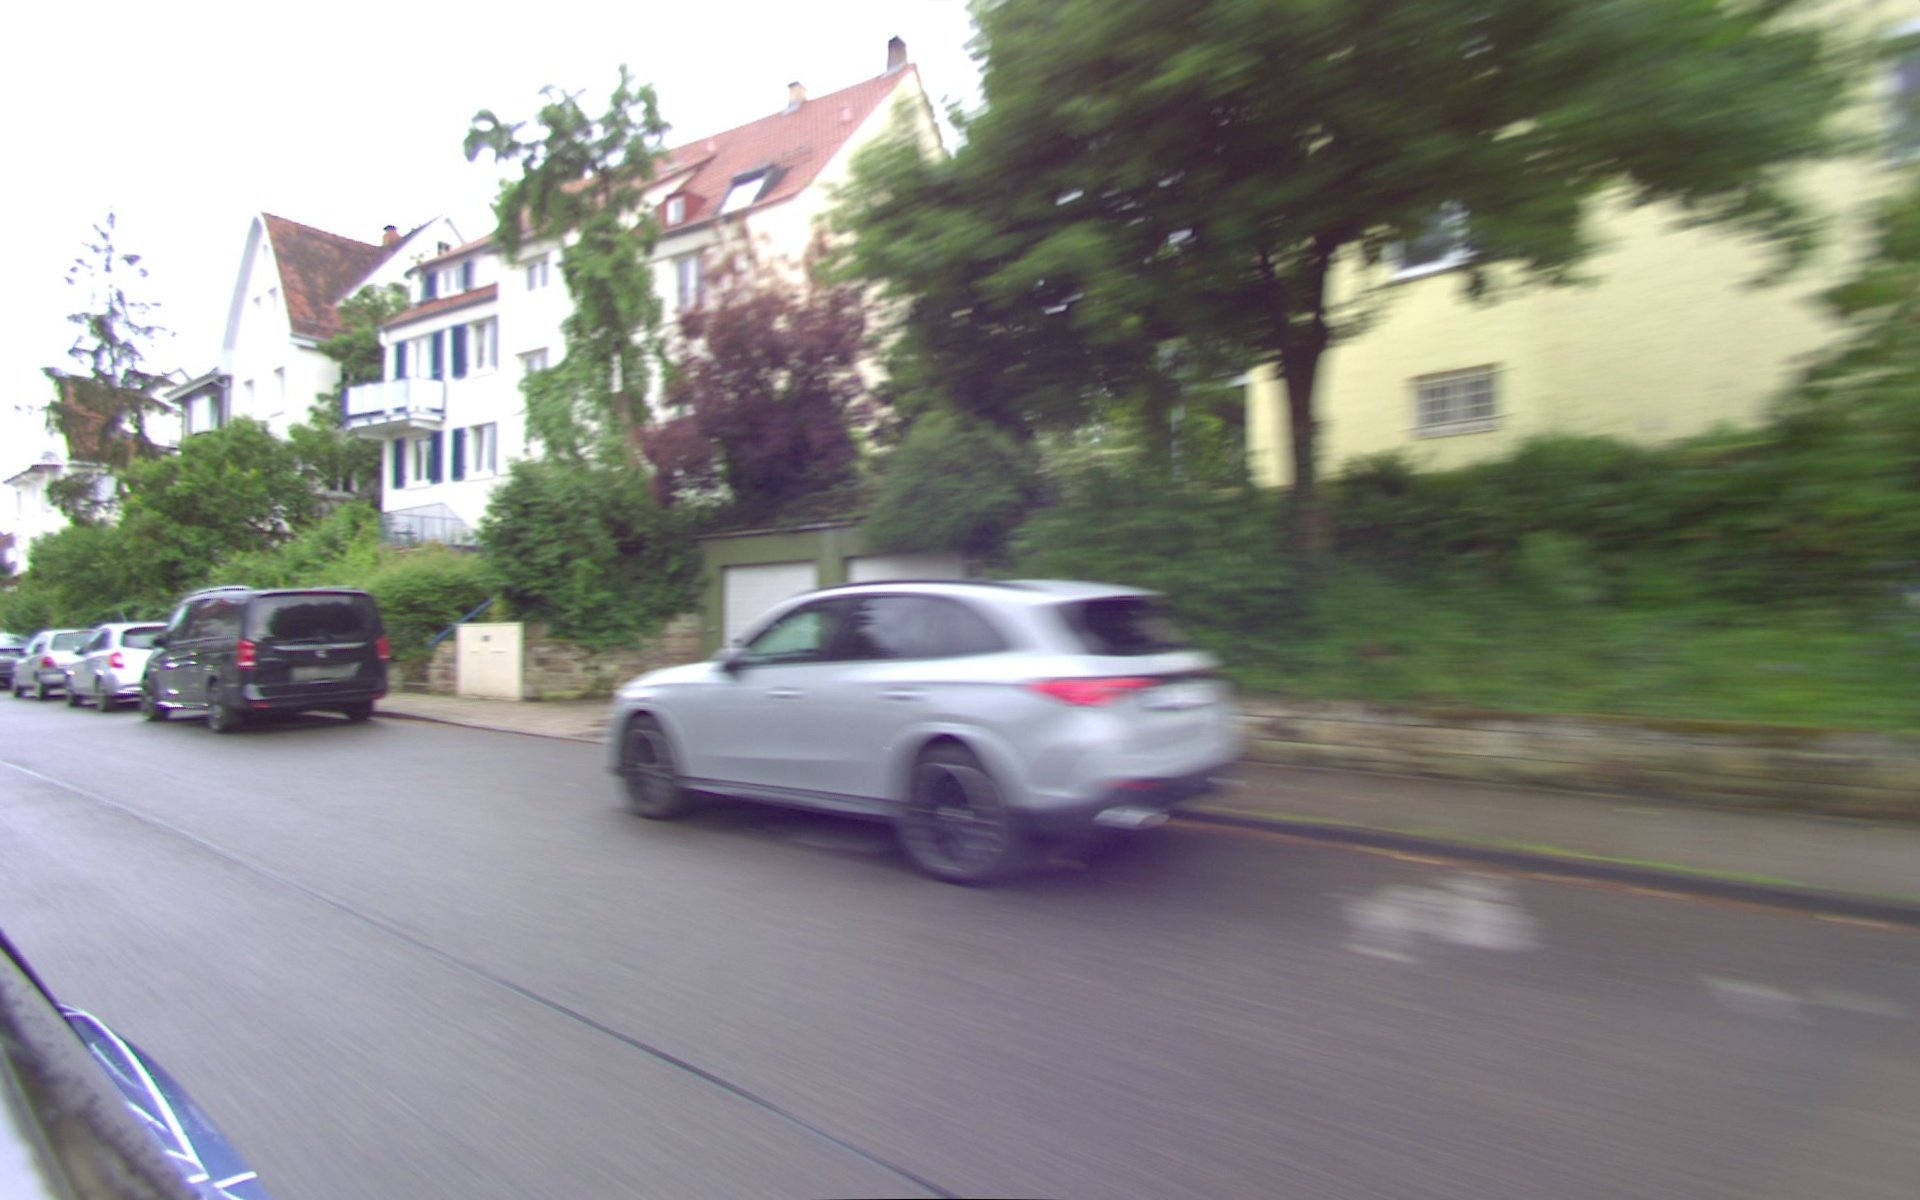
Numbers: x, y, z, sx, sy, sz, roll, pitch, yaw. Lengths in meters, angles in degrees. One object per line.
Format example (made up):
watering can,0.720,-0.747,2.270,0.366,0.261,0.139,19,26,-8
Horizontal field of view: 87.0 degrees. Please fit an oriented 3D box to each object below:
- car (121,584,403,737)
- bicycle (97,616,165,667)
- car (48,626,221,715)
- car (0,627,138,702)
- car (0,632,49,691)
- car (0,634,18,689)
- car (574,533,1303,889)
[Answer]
car,-10.457,0.820,14.972,5.349,1.892,1.974,-2,-1,39
bicycle,-23.518,1.185,28.704,2.287,1.311,0.994,-4,-3,37
car,-15.254,1.246,18.648,3.808,1.458,1.678,-2,-2,38
car,-19.466,1.415,22.016,3.621,1.458,1.631,-4,-3,37
car,-25.662,1.682,26.610,4.408,1.458,1.740,-4,-3,37
car,-29.414,1.837,29.895,3.807,1.553,1.681,-3,-2,37
car,-0.421,0.533,6.817,4.757,1.592,1.974,-2,1,40
